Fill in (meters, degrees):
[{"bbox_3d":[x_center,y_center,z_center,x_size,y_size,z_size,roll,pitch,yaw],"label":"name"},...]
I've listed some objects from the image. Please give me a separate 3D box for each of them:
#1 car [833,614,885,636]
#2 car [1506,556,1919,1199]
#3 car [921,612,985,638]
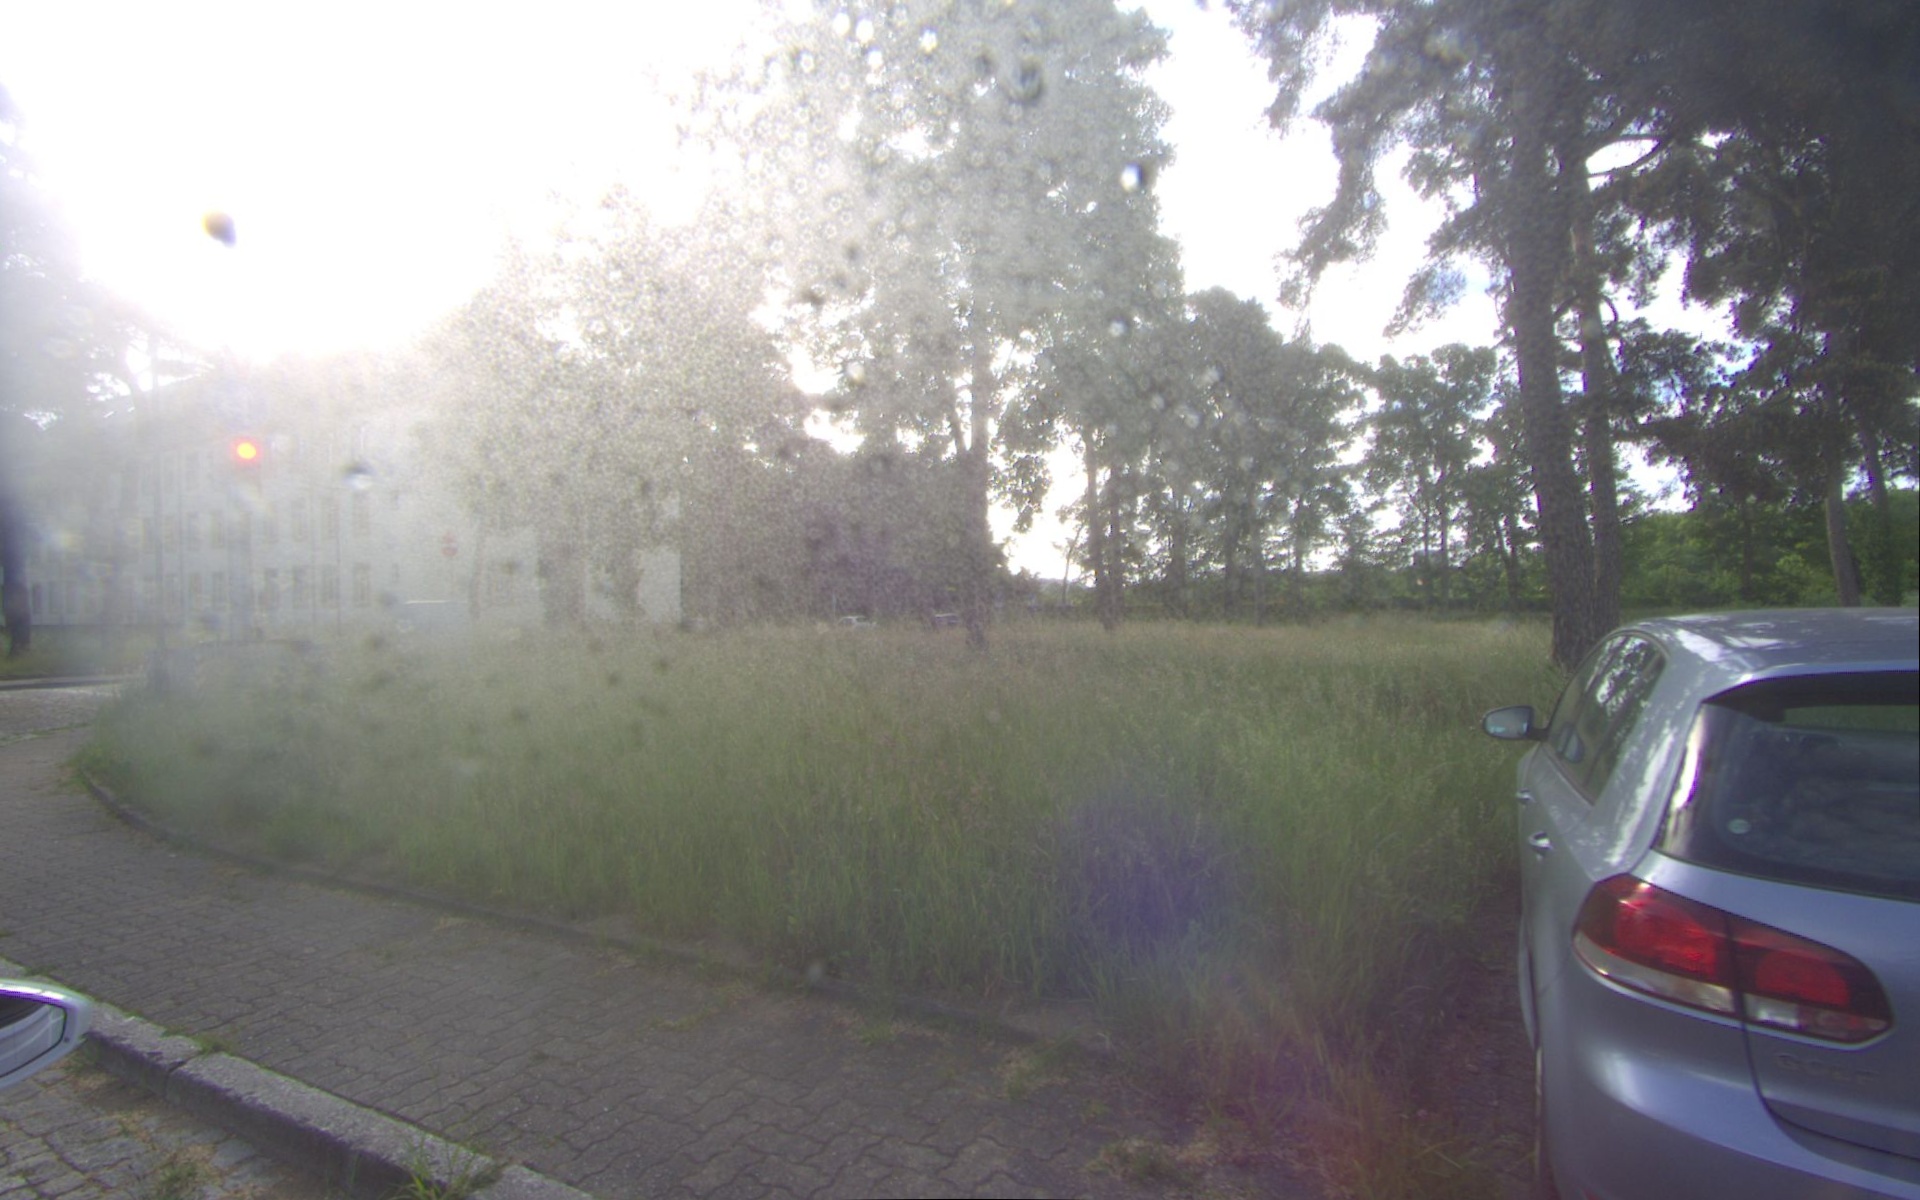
[{"bbox_3d":[-7.008,1.756,69.845,1.540,1.415,3.984,-1,-3,30],"label":"car"},{"bbox_3d":[2.617,0.694,3.036,1.616,1.490,3.840,0,-1,28],"label":"car"},{"bbox_3d":[-0.466,1.623,64.687,3.923,1.622,1.999,0,0,-7],"label":"car"}]
